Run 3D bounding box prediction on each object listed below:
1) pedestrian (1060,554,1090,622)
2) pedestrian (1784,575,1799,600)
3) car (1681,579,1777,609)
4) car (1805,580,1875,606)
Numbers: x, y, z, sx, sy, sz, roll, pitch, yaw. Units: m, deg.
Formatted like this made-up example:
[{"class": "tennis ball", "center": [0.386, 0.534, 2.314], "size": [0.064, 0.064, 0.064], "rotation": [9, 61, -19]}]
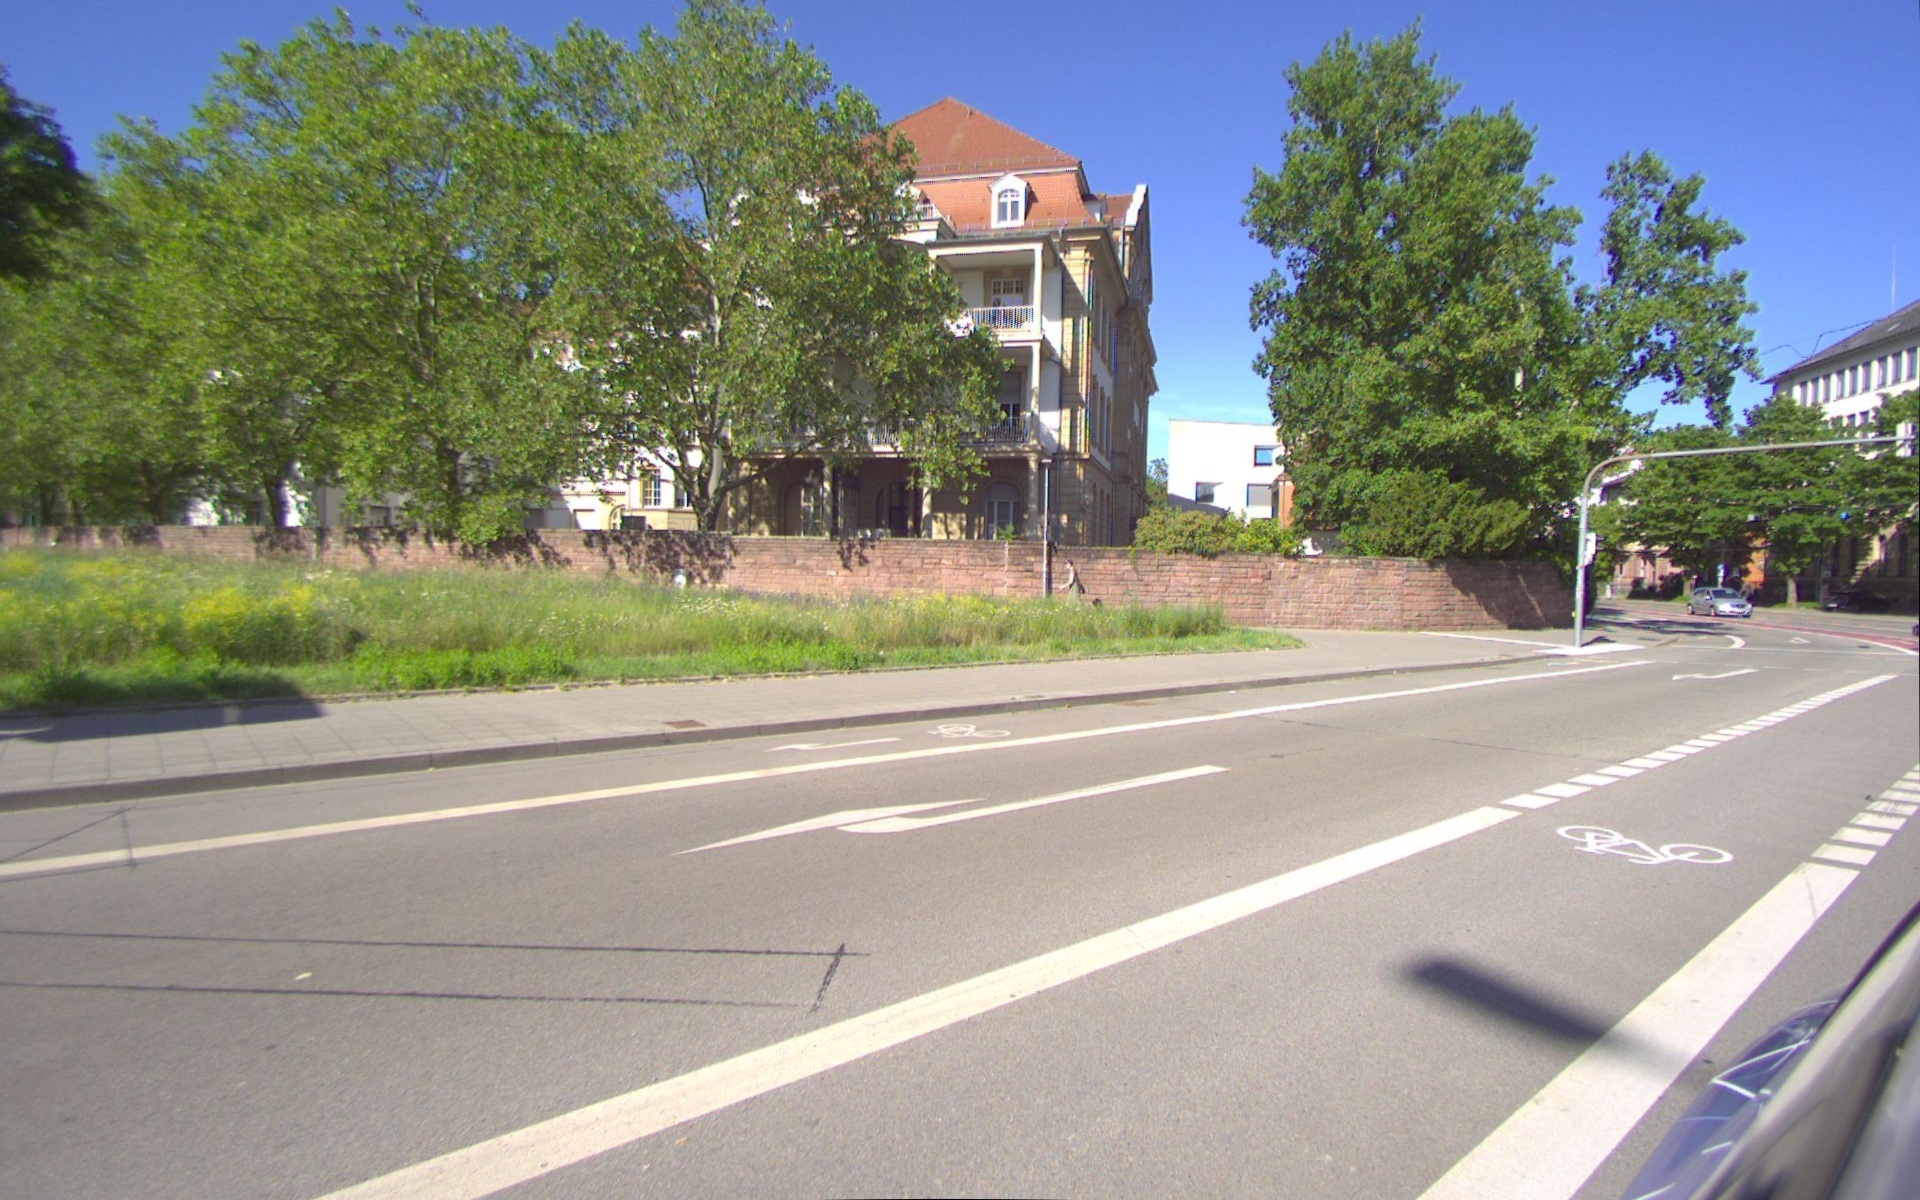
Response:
[{"class": "pedestrian", "center": [3.239, -0.338, 28.625], "size": [0.773, 1.881, 0.630], "rotation": [1, 1, 4]}, {"class": "pedestrian", "center": [66.354, -1.017, 80.795], "size": [0.568, 1.927, 0.781], "rotation": [1, 1, 12]}, {"class": "car", "center": [42.624, -0.339, 56.235], "size": [1.965, 1.610, 4.844], "rotation": [0, 0, 6]}, {"class": "car", "center": [60.054, -0.523, 69.151], "size": [1.806, 1.615, 3.988], "rotation": [2, 2, 11]}]
